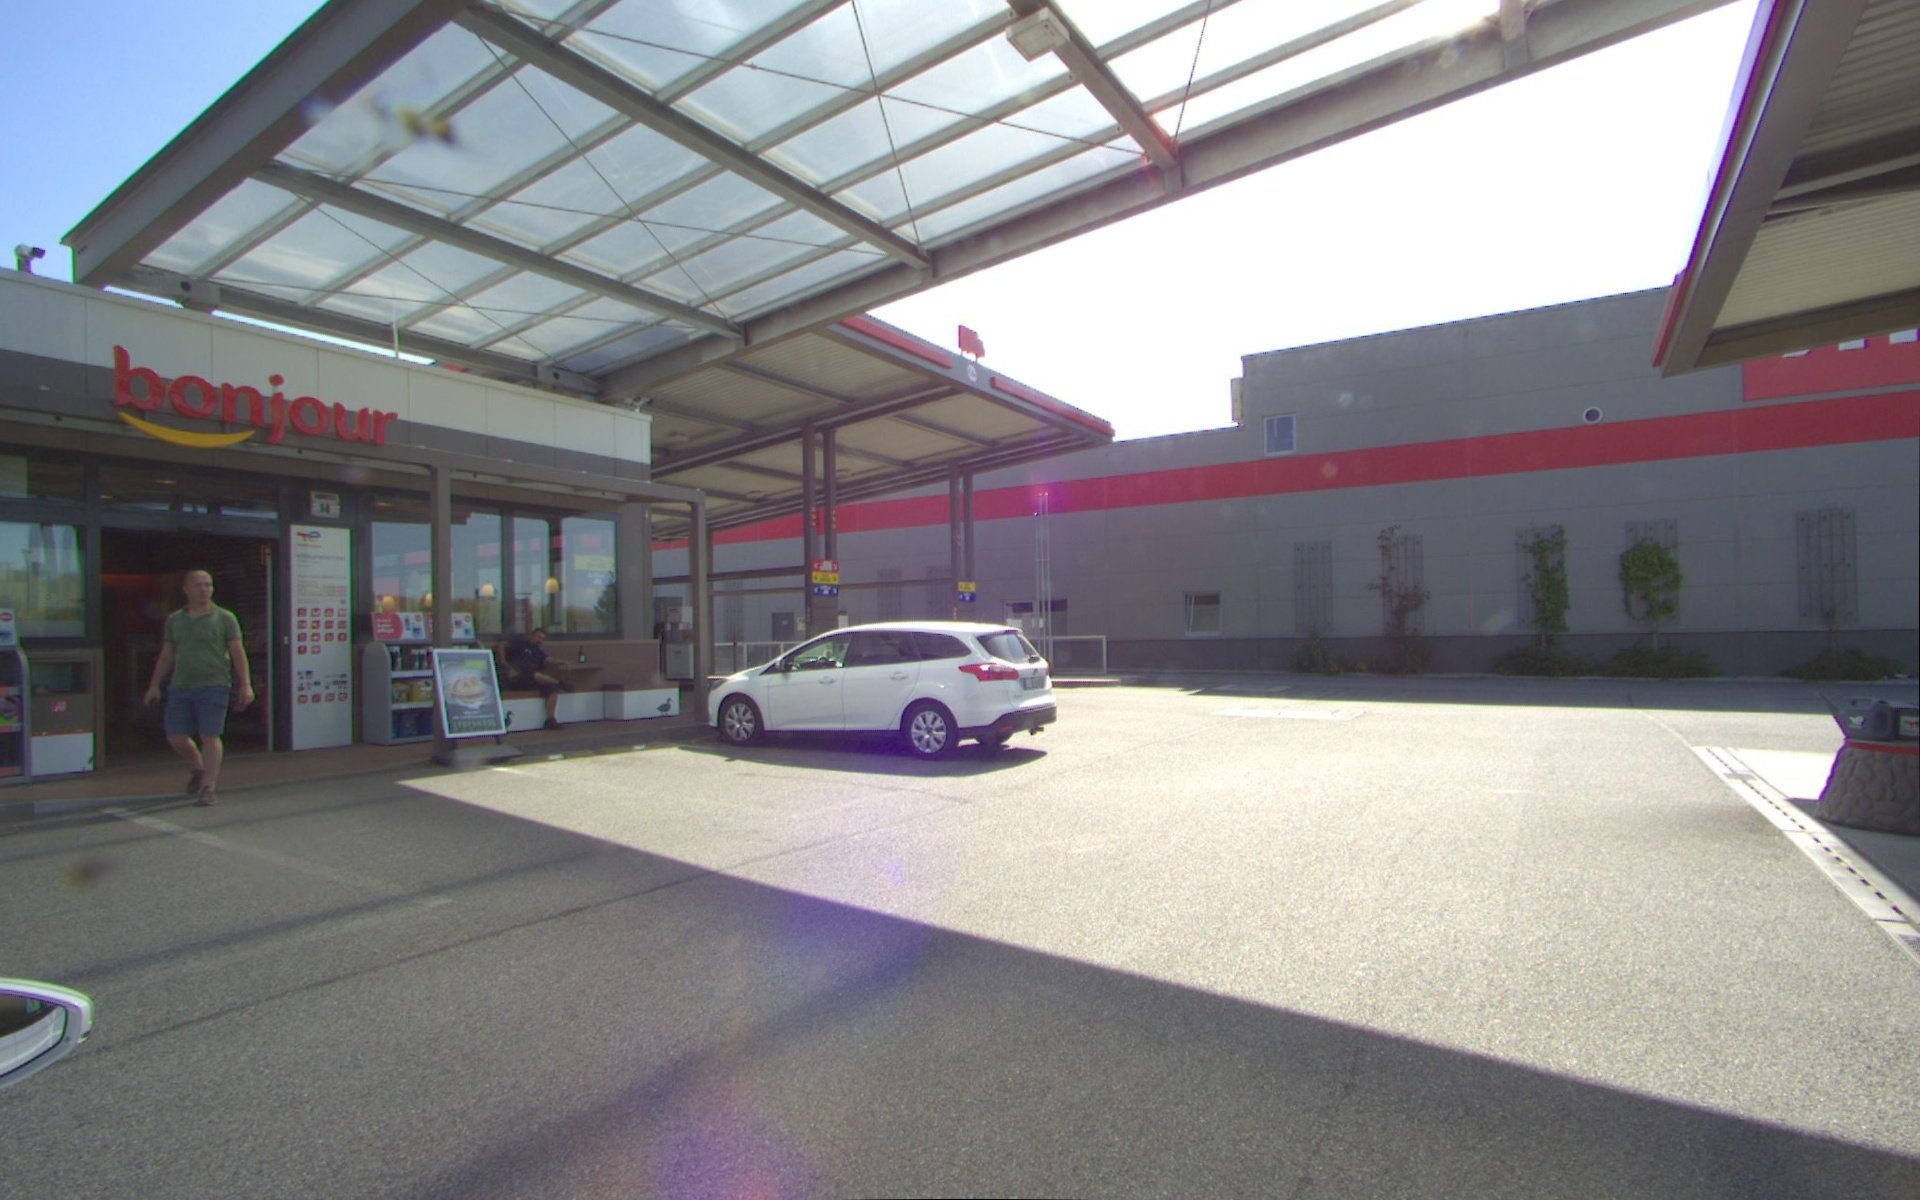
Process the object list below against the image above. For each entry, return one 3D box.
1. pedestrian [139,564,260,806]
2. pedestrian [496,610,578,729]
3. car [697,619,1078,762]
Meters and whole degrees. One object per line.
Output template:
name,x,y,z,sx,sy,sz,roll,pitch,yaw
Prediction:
pedestrian,-6.087,0.650,8.062,0.694,1.821,0.857,0,-1,-32
pedestrian,-5.346,0.857,12.668,0.663,1.450,0.700,-1,-1,31
car,-0.894,0.981,12.048,4.251,1.475,1.830,-1,-1,26
